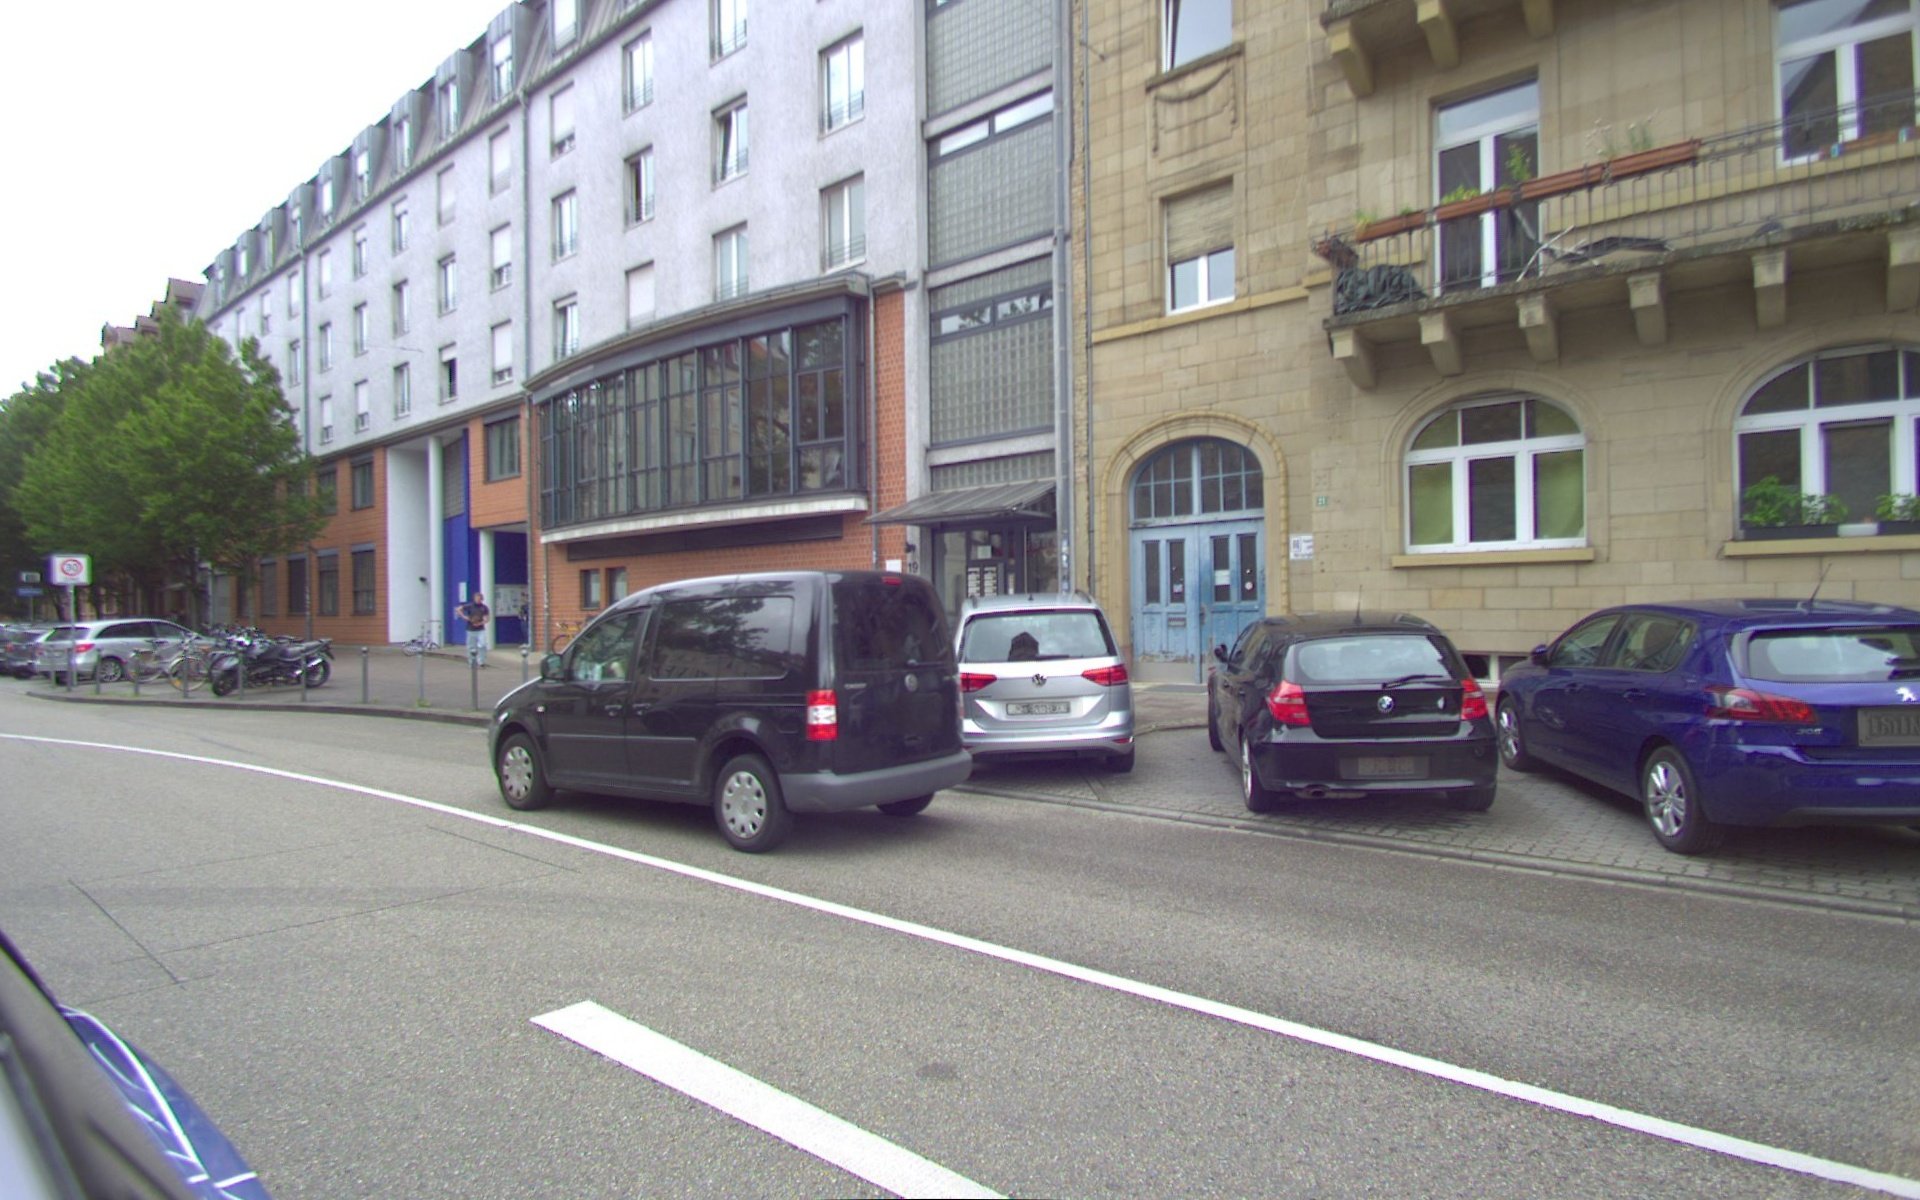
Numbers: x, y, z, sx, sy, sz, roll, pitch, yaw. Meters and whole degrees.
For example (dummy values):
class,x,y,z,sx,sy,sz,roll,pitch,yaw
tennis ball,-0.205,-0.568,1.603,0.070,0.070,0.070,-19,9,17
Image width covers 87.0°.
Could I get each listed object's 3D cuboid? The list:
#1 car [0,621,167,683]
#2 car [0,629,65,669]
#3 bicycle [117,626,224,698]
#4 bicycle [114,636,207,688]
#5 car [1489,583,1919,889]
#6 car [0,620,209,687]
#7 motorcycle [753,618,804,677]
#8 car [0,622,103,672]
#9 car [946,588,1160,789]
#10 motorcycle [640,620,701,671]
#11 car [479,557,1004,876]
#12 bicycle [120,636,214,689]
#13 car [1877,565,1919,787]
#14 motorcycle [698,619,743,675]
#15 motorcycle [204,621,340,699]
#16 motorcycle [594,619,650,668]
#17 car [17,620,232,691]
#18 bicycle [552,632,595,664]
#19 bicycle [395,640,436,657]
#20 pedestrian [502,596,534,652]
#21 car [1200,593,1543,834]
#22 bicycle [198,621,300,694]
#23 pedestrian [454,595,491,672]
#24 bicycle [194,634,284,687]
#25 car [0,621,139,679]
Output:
class,x,y,z,sx,sy,sz,roll,pitch,yaw
car,-25.951,1.458,29.589,1.983,1.641,3.977,-1,-1,18
car,-37.723,1.917,39.415,1.723,1.508,3.977,-1,-1,18
bicycle,-15.716,1.207,20.175,0.416,1.299,1.610,-2,1,39
bicycle,-18.442,1.406,23.359,0.416,1.082,1.610,-2,1,39
car,5.245,0.674,6.907,1.804,1.456,3.737,-2,1,10
car,-23.306,1.411,27.738,1.983,1.641,3.977,-1,-1,18
motorcycle,-3.598,0.912,19.941,0.438,1.106,1.768,0,-1,-29
car,-32.653,1.627,35.148,1.983,1.641,3.977,-1,-1,18
car,0.806,0.711,10.359,1.710,1.565,3.999,-2,1,1
motorcycle,-6.468,1.001,22.573,1.762,1.106,0.440,-2,-1,42
car,-1.827,0.717,7.735,4.123,1.817,1.677,-2,-2,38
bicycle,-18.043,1.402,23.052,0.416,1.082,1.610,-2,1,39
car,7.540,0.548,5.420,1.681,1.565,3.997,-2,1,3
motorcycle,-4.952,0.949,20.839,0.438,1.106,1.768,0,-1,-29
motorcycle,-13.465,1.139,19.863,0.599,1.363,2.096,-2,1,41
motorcycle,-7.993,1.021,23.877,1.762,1.106,0.440,-2,-1,42
car,-21.296,1.365,25.998,1.758,1.641,3.977,-1,-1,18
bicycle,-9.819,1.203,25.711,1.581,0.793,0.332,-2,-1,42
bicycle,-16.668,1.480,30.976,0.527,0.440,0.997,1,0,42
pedestrian,-13.404,0.714,30.676,0.622,1.662,0.677,-1,0,42
car,3.105,0.737,8.503,1.713,1.449,3.990,-2,1,9
bicycle,-14.433,1.144,20.576,0.416,1.363,1.610,-2,1,39
pedestrian,-11.745,0.798,24.375,0.641,1.837,0.613,-2,-1,41
bicycle,-16.543,1.377,23.236,0.416,1.082,1.610,-2,1,39
car,-28.171,1.498,31.248,1.983,1.641,3.977,-1,-1,18
